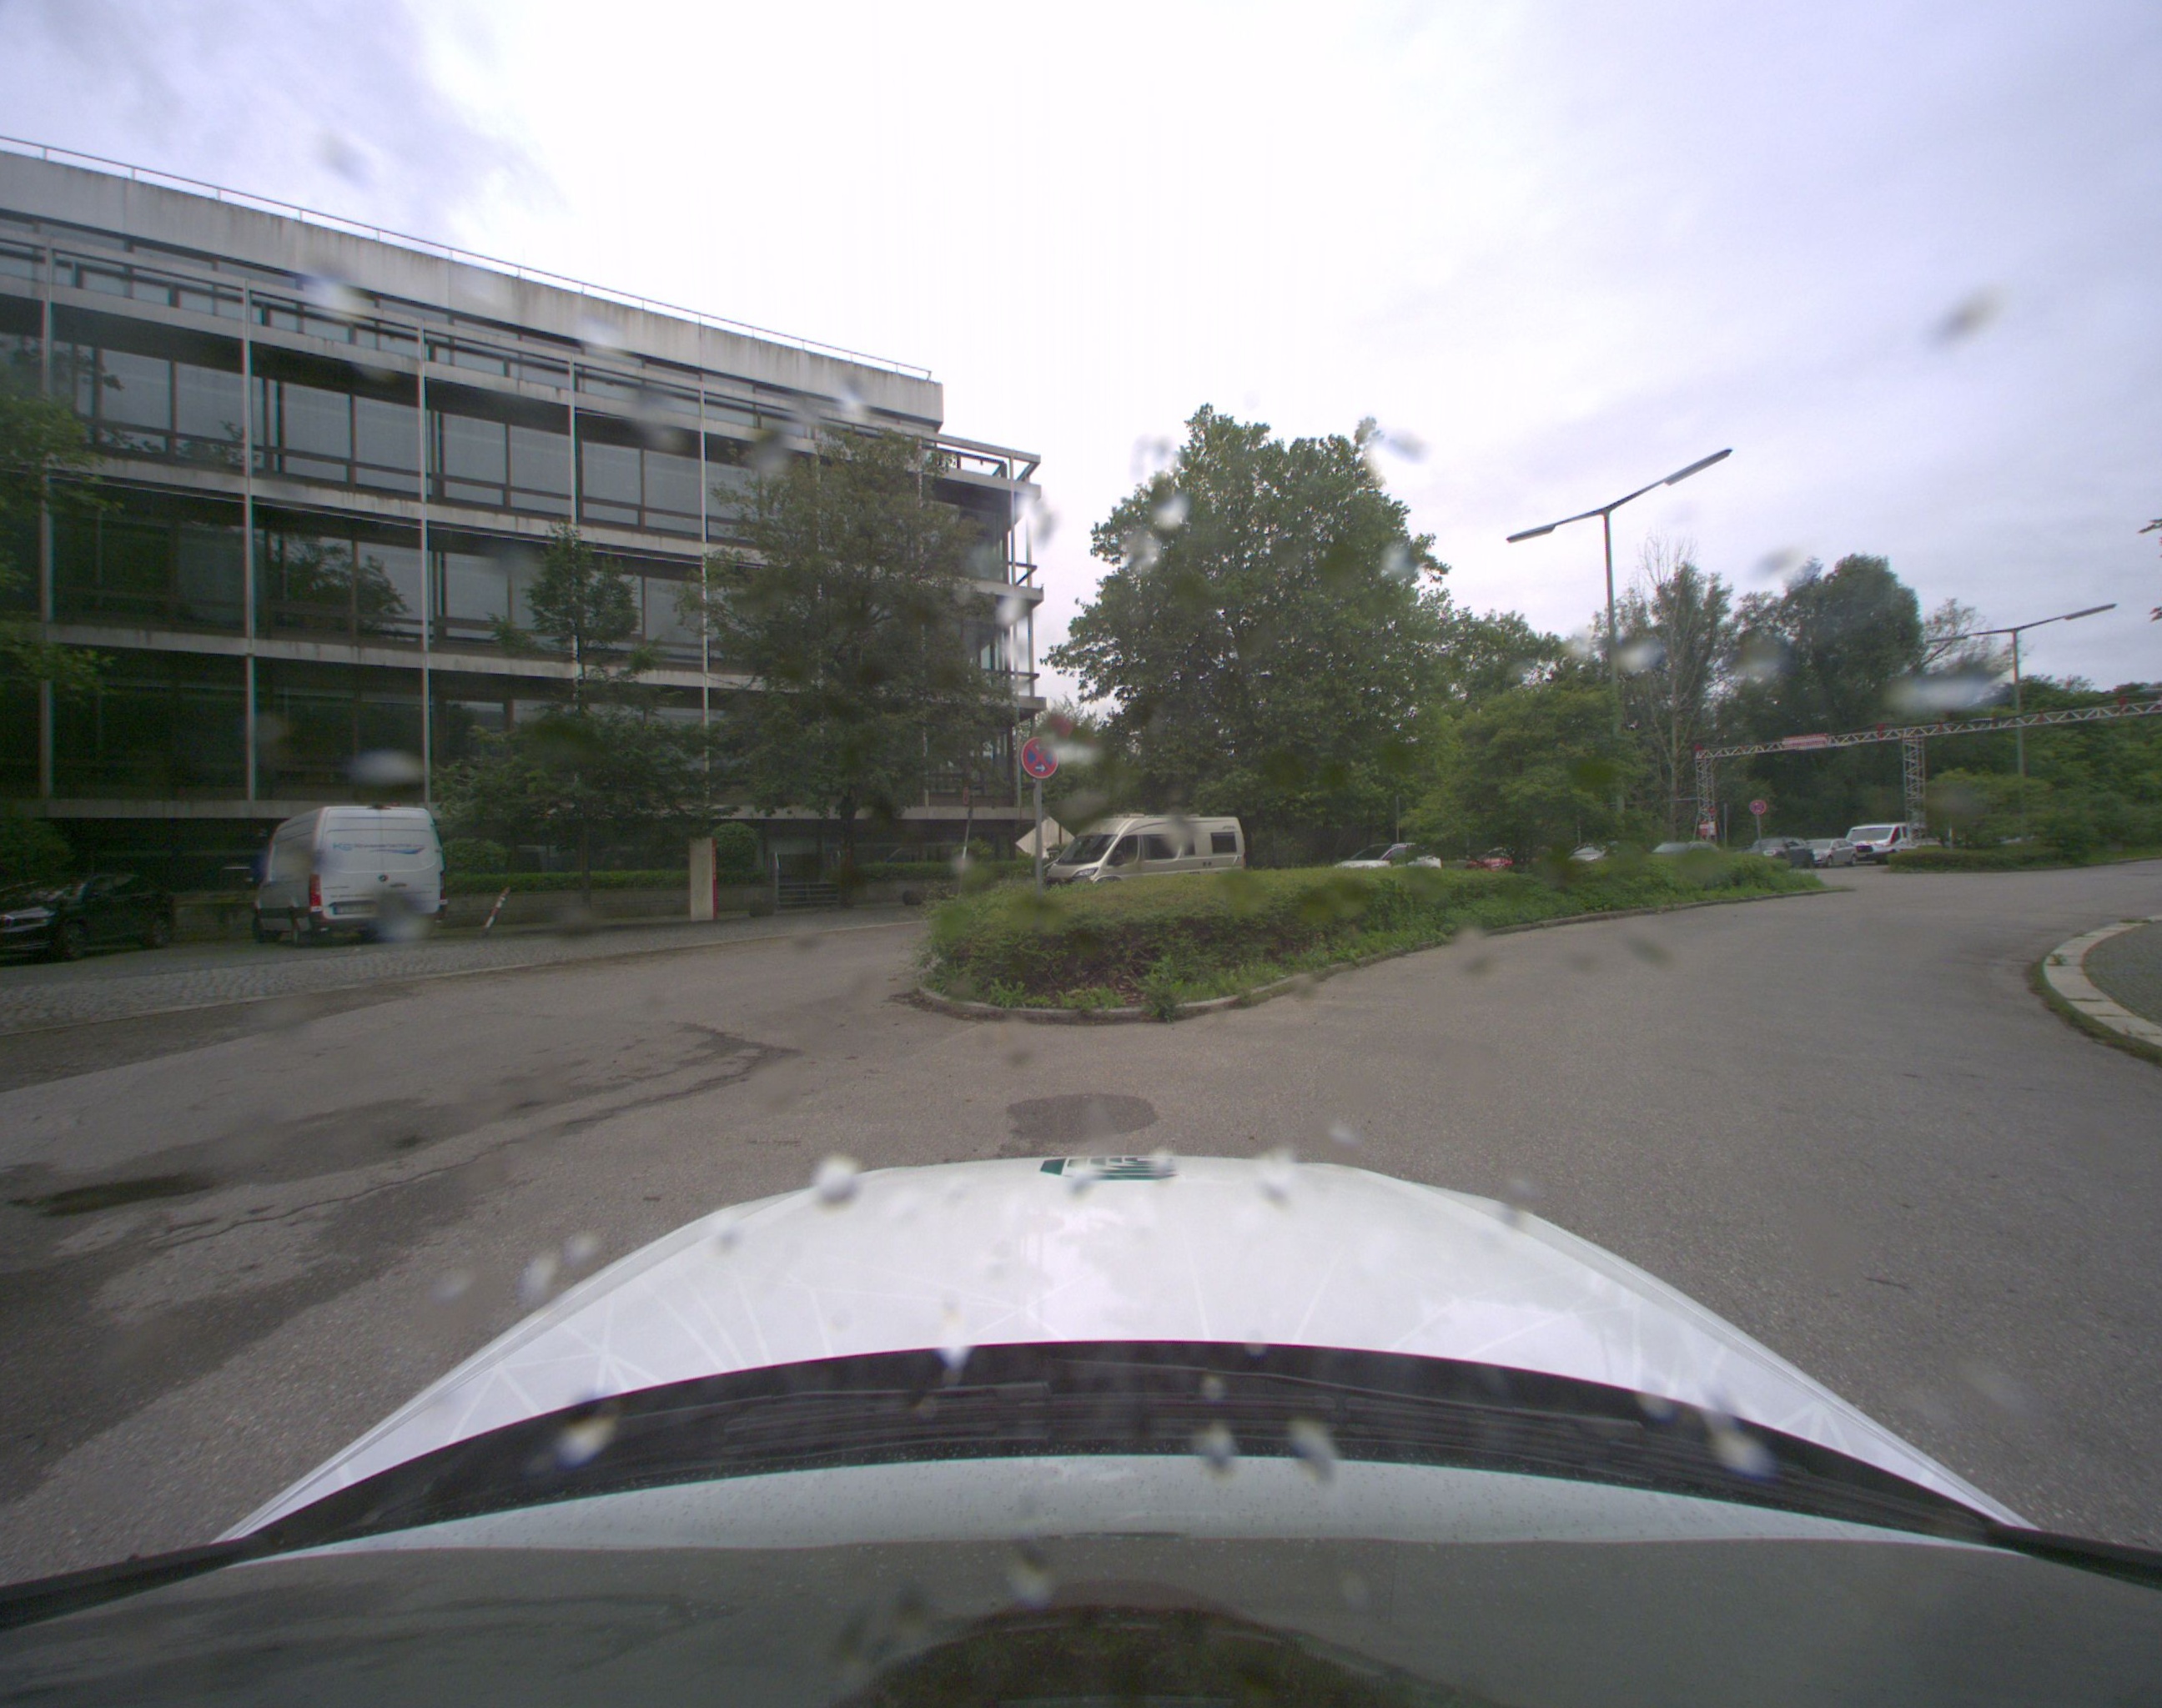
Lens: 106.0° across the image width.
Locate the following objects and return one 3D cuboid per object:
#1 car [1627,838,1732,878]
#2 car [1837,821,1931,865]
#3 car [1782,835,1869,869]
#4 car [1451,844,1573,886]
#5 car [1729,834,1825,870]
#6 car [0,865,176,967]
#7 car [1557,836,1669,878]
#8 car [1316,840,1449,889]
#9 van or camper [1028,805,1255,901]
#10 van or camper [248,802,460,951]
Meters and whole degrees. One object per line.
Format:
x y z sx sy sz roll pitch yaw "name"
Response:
25.965 0.177 35.309 4.007 1.574 1.983 -1 -1 -25 "car"
43.079 -0.596 43.662 4.882 2.227 2.186 -1 -1 -28 "car"
37.629 -0.112 41.170 4.010 1.574 1.982 -1 -1 -28 "car"
16.063 0.406 30.351 4.007 1.409 1.983 -1 -1 -25 "car"
33.162 -0.096 38.804 4.007 1.574 1.983 -1 -1 -25 "car"
-19.738 1.121 15.617 1.954 1.721 4.198 -1 -1 -30 "car"
21.508 0.110 32.923 4.007 1.574 1.983 -1 -1 -25 "car"
10.257 0.335 27.688 4.007 1.508 1.983 -1 -1 -25 "car"
1.826 -0.040 22.322 6.452 2.281 2.228 -1 -1 -40 "van or camper"
-15.302 0.560 16.970 6.454 2.581 2.176 -4 -3 38 "van or camper"
